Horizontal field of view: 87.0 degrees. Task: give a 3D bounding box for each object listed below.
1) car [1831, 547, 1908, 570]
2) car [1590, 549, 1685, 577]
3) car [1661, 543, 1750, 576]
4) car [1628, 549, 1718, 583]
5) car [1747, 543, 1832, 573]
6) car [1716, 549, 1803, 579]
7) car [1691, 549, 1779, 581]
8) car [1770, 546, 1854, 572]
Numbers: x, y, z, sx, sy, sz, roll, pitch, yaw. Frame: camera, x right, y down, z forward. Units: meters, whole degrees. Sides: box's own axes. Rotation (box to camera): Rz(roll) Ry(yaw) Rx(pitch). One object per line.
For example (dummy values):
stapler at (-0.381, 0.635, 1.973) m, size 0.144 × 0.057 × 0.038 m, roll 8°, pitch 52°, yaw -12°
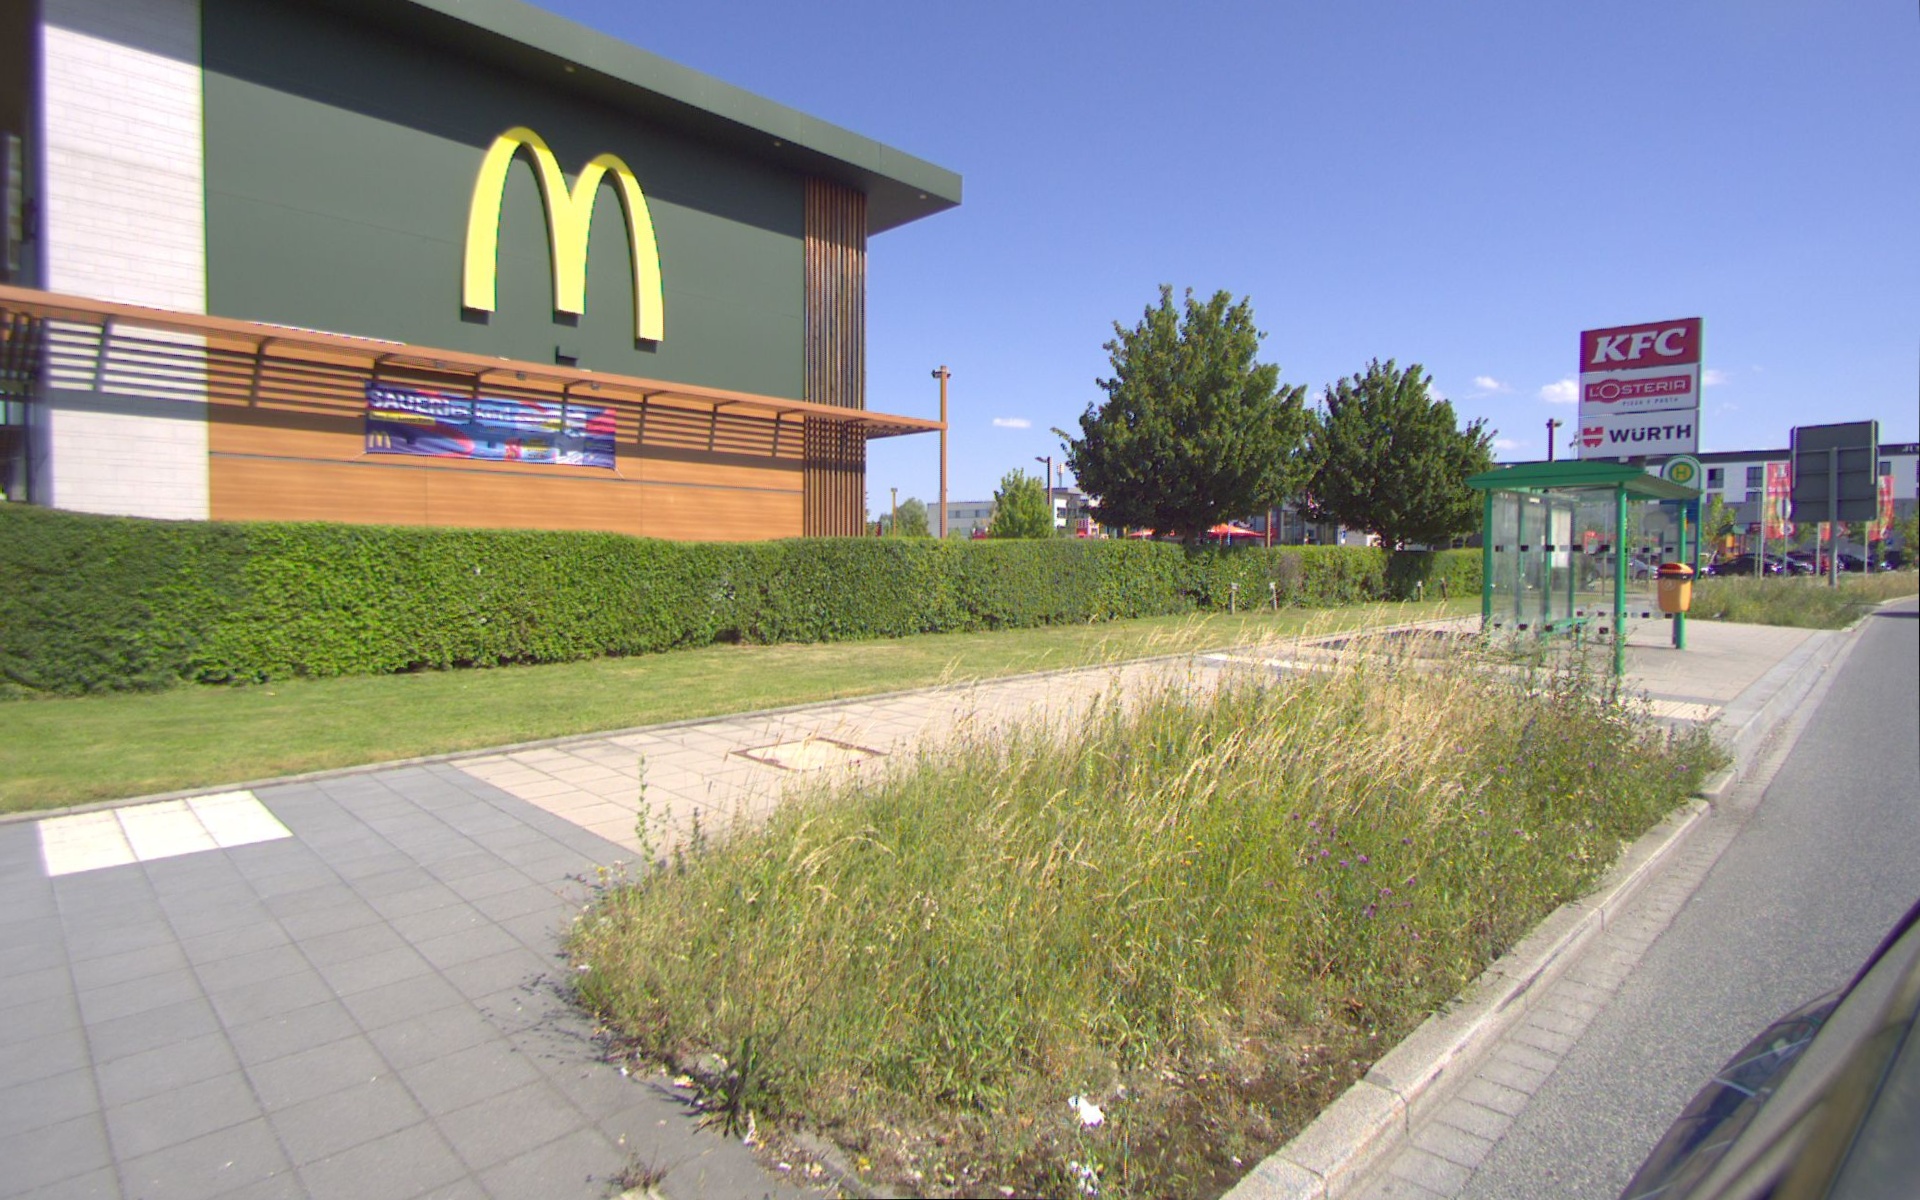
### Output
car at (66.707, -3.040, 74.289) m, size 1.722 × 1.639 × 3.829 m, roll -1°, pitch 3°, yaw -31°
car at (41.115, -2.254, 61.524) m, size 1.898 × 1.673 × 4.441 m, roll -1°, pitch 3°, yaw -38°
car at (47.954, -2.589, 65.179) m, size 1.895 × 2.038 × 4.192 m, roll -1°, pitch 2°, yaw -31°
car at (45.035, -2.171, 64.007) m, size 1.895 × 2.038 × 4.193 m, roll -1°, pitch 2°, yaw -30°
car at (57.750, -2.914, 70.532) m, size 1.896 × 2.038 × 4.191 m, roll -1°, pitch 3°, yaw -32°
car at (53.539, -2.425, 67.866) m, size 1.766 × 1.880 × 4.195 m, roll -1°, pitch 2°, yaw -27°
car at (51.130, -2.322, 66.823) m, size 1.895 × 2.038 × 4.192 m, roll -1°, pitch 2°, yaw -30°
car at (60.380, -2.904, 71.817) m, size 1.787 × 1.783 × 4.194 m, roll -1°, pitch 2°, yaw -27°
